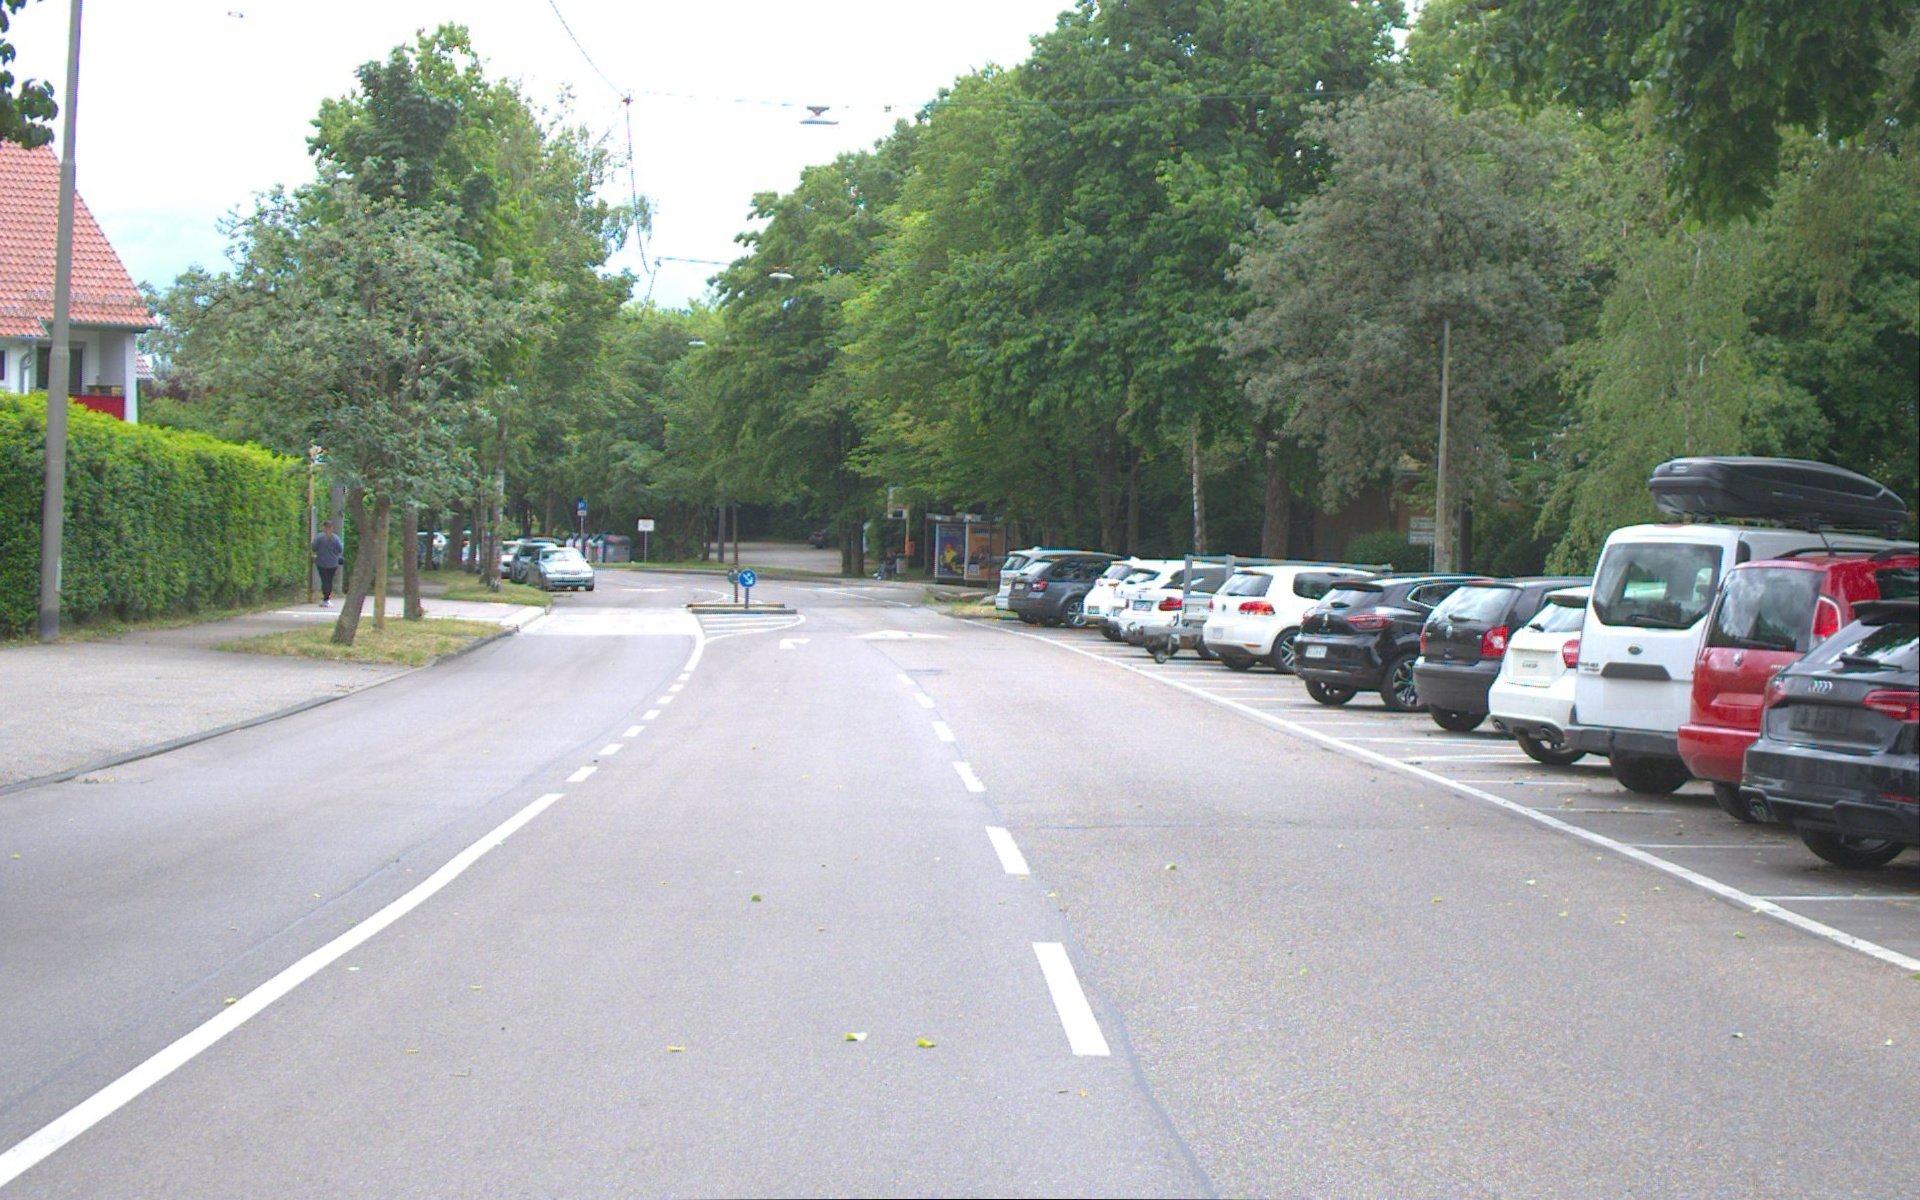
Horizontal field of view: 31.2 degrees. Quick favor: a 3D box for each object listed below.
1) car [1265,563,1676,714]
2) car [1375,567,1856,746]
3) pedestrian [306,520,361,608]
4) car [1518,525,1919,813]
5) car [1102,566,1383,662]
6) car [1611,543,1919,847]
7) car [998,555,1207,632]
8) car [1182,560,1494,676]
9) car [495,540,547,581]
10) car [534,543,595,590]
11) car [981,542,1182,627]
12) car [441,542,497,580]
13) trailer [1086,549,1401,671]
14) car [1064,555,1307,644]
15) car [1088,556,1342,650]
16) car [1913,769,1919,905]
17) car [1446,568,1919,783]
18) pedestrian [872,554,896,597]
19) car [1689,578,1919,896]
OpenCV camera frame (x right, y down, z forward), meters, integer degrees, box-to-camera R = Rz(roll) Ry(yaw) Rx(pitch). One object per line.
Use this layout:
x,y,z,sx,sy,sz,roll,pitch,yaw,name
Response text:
5.422,0.410,36.519,3.883,1.444,1.845,2,1,-24,car
5.994,0.516,31.524,3.883,1.444,1.845,2,0,-20,car
-12.460,-0.718,68.378,0.974,1.724,0.849,1,1,-4,pedestrian
5.990,0.480,23.070,4.085,1.748,1.787,2,1,-27,car
4.315,0.219,52.515,3.883,1.305,1.744,2,1,-25,car
6.103,0.576,20.158,3.995,1.614,1.885,2,1,-16,car
2.939,-0.138,70.863,3.883,1.424,1.744,2,1,-20,car
5.236,0.244,47.658,3.883,1.444,1.744,2,1,-22,car
-16.612,-1.512,130.008,1.866,1.466,4.001,1,1,-8,car
-12.977,-1.115,112.711,1.866,1.466,4.001,1,1,-8,car
2.598,-0.329,73.647,3.883,1.662,1.744,2,1,-20,car
-20.149,-1.599,140.890,1.866,1.466,4.001,1,1,-14,car
4.101,0.145,49.824,4.153,1.568,1.712,2,0,-20,trailer
3.987,-0.010,60.873,3.883,1.424,1.744,2,1,-20,car
4.319,0.047,58.300,3.883,1.424,1.744,2,1,-20,car
6.339,0.737,14.689,3.963,1.400,1.757,3,1,-15,car
5.965,0.576,26.270,3.965,1.444,1.919,2,1,-16,car
-2.833,-0.910,128.480,0.741,1.564,0.651,1,0,10,pedestrian
5.874,0.695,17.025,4.026,1.400,1.757,2,1,-18,car
